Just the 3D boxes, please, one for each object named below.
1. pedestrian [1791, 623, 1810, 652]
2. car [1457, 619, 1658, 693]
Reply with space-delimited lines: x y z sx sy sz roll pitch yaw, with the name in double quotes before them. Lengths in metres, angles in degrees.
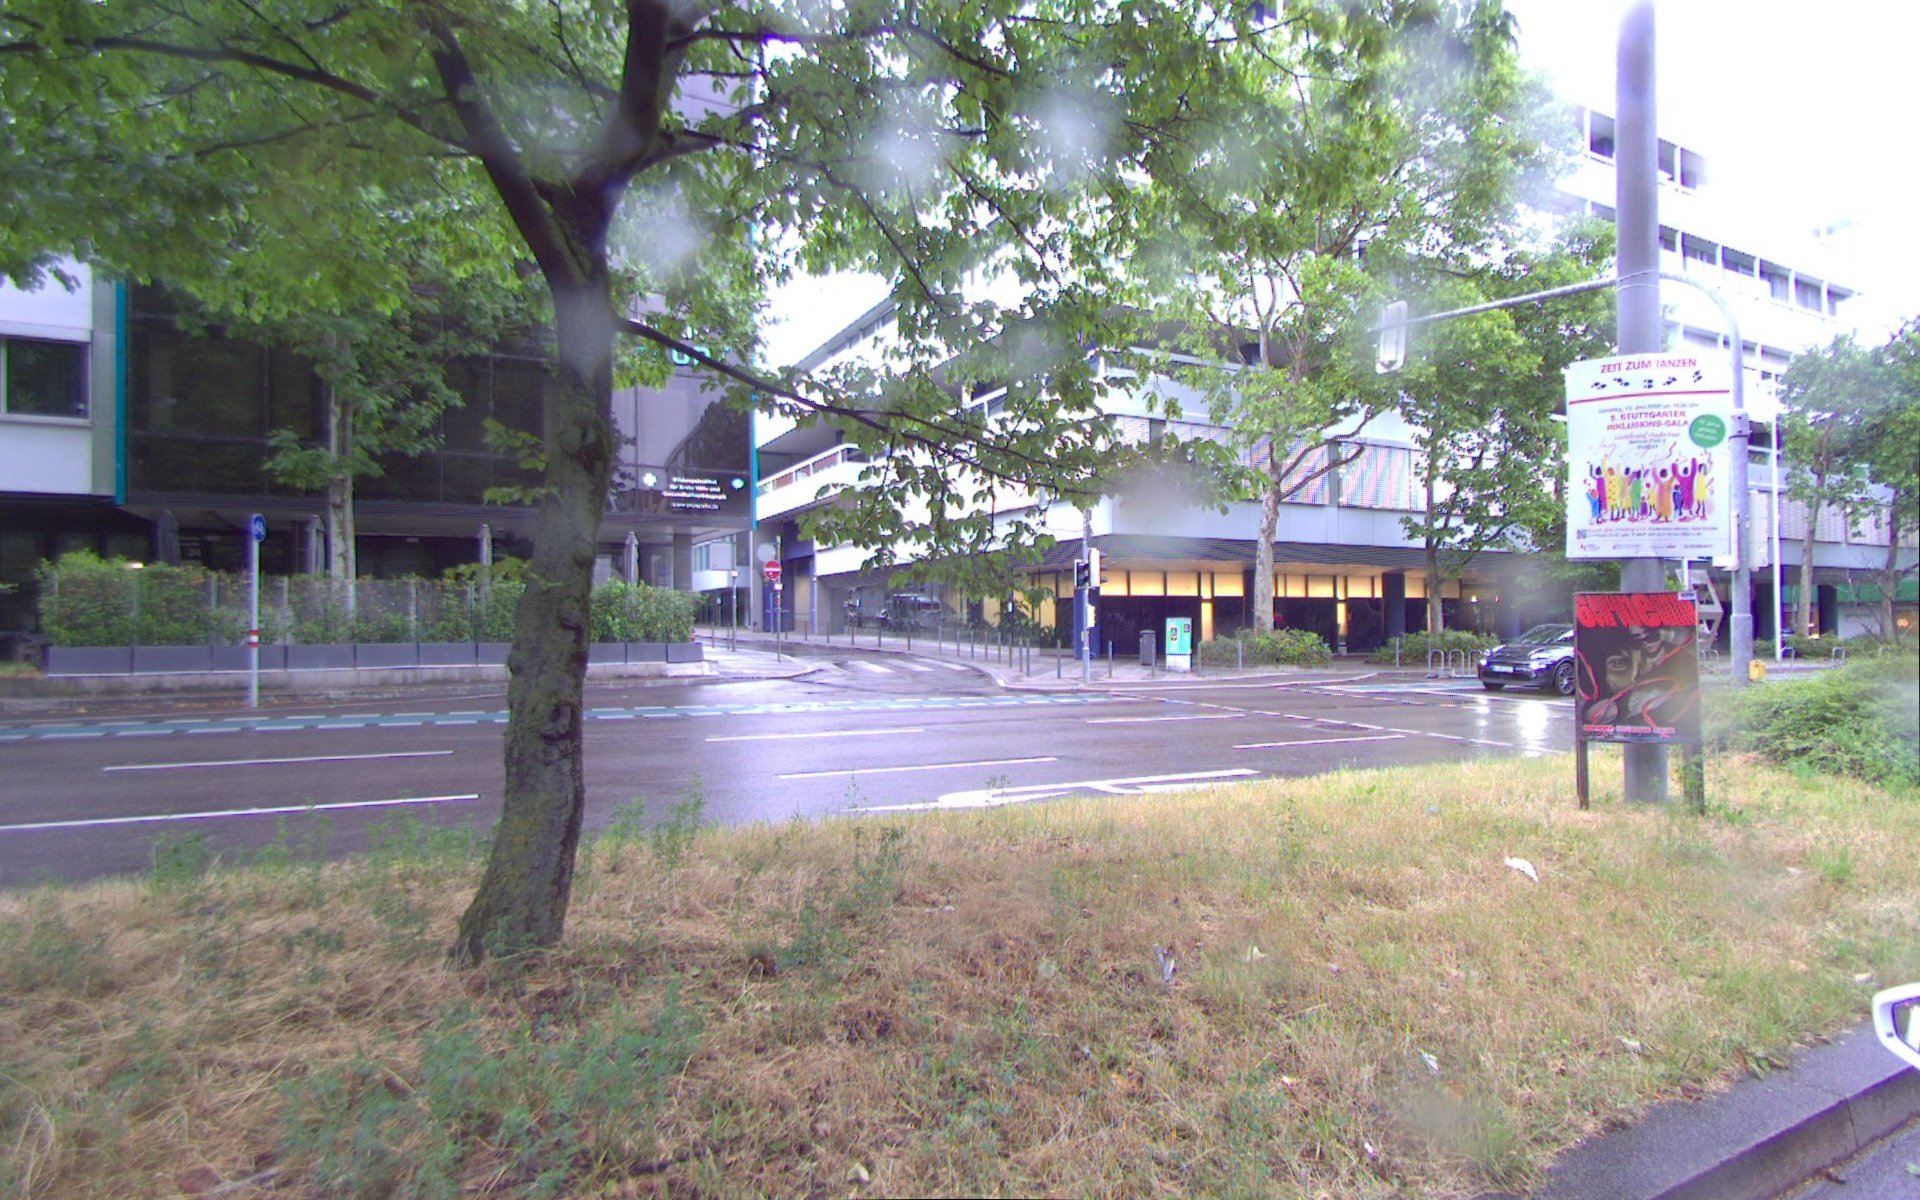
"pedestrian" 45.194 2.014 54.023 0.568 1.502 0.606 2 0 -32
"car" 14.511 1.348 24.358 4.683 1.605 1.903 2 0 -26
